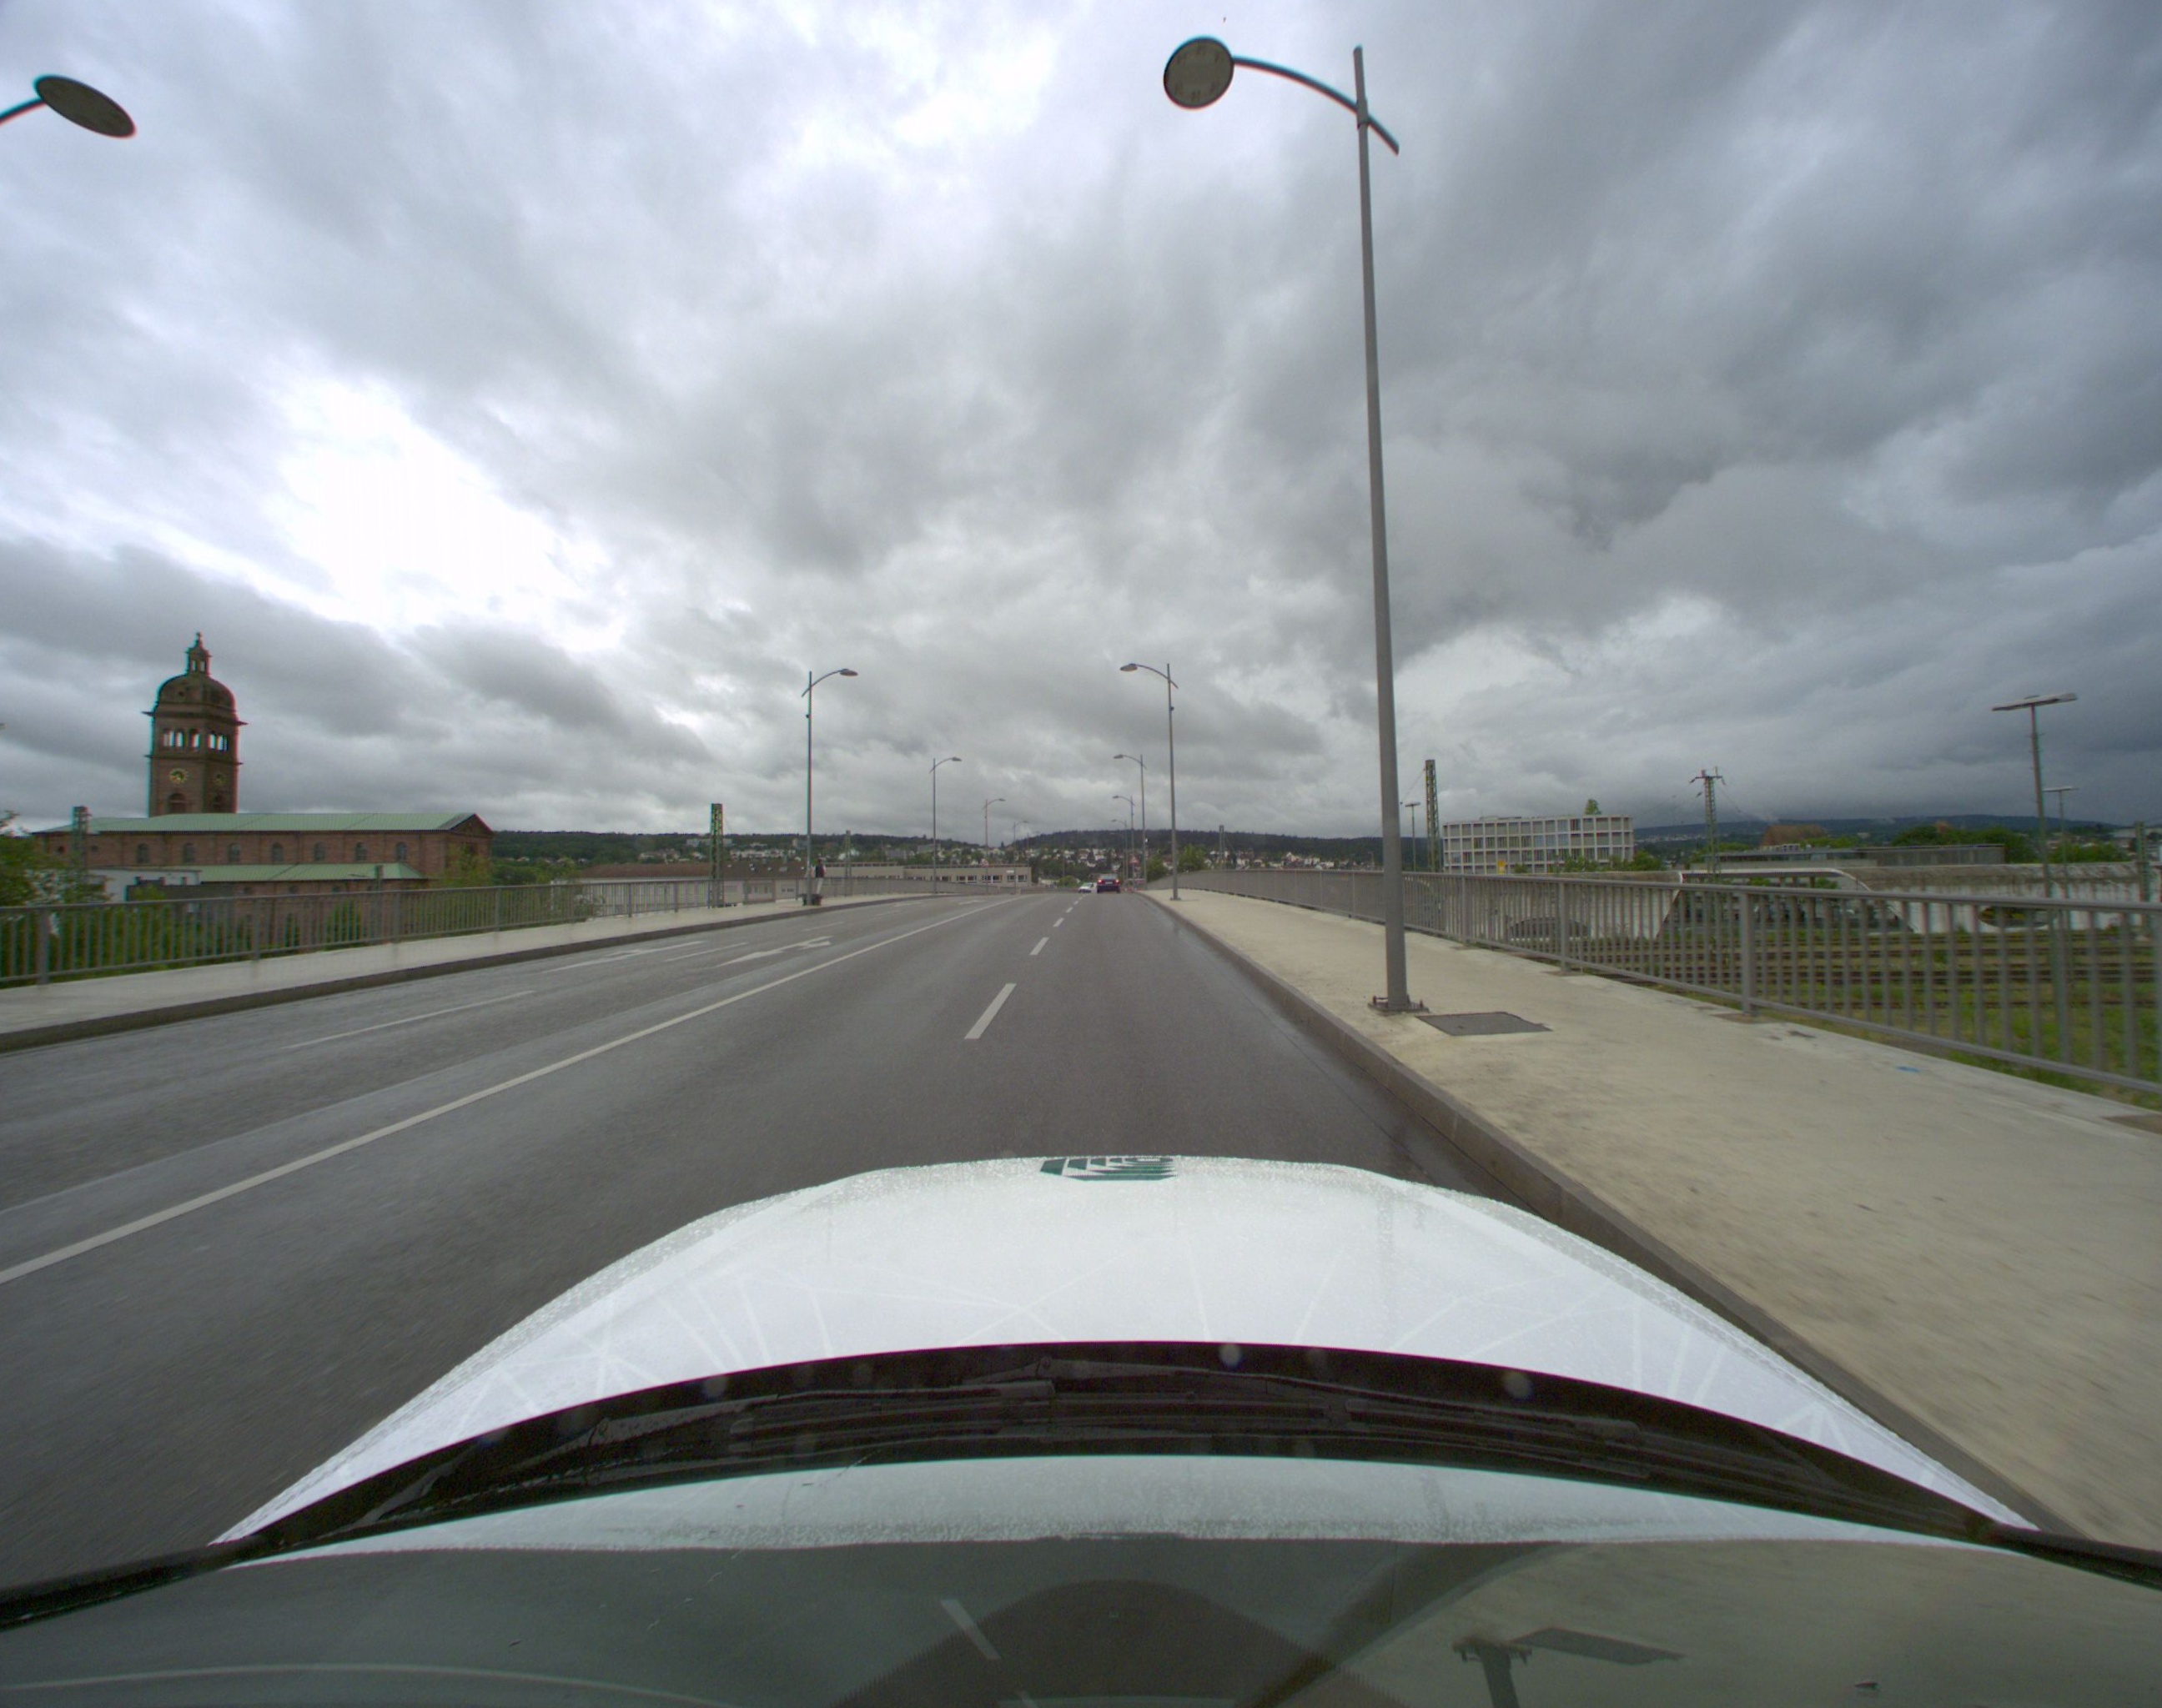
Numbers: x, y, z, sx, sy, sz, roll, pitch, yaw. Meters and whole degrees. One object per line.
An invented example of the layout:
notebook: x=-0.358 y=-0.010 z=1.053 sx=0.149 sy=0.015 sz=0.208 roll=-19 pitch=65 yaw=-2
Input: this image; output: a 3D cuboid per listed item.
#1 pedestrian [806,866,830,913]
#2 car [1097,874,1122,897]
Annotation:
pedestrian: x=-11.672 y=1.566 z=36.209 sx=0.753 sy=2.048 sz=0.892 roll=-2 pitch=-4 yaw=1
car: x=2.056 y=2.305 z=58.848 sx=1.747 sy=1.479 sz=4.000 roll=-2 pitch=-3 yaw=2
